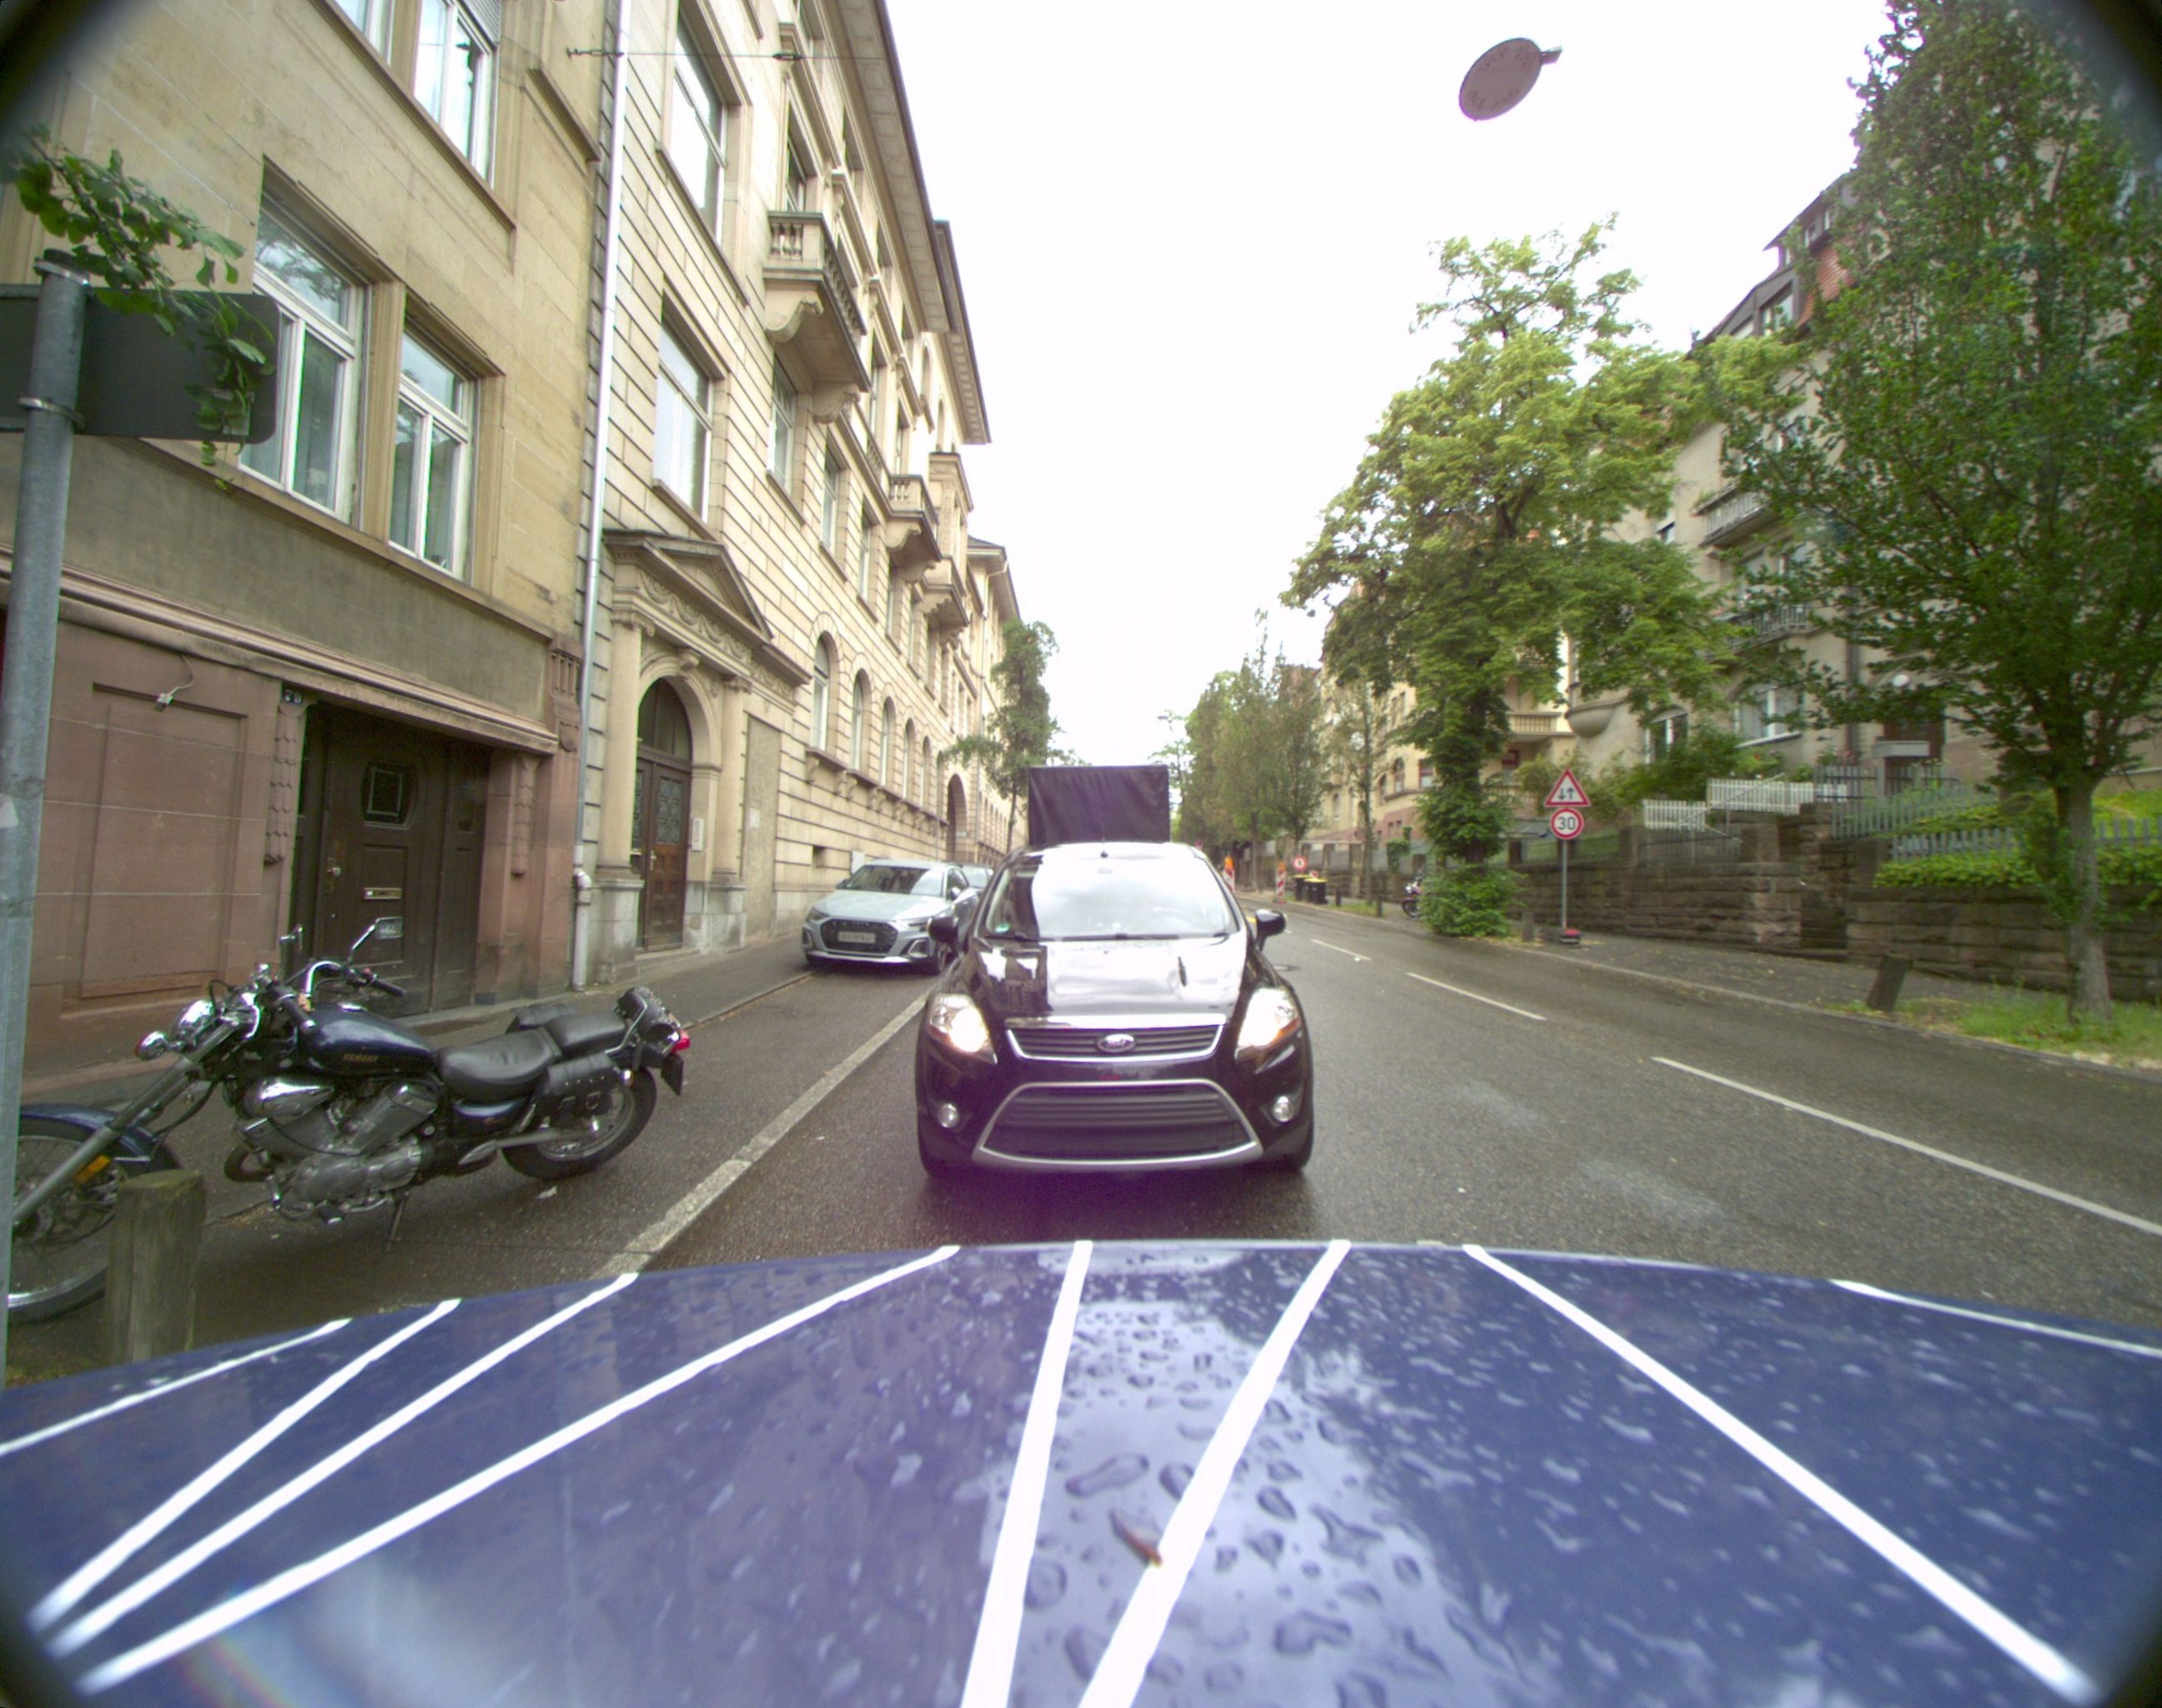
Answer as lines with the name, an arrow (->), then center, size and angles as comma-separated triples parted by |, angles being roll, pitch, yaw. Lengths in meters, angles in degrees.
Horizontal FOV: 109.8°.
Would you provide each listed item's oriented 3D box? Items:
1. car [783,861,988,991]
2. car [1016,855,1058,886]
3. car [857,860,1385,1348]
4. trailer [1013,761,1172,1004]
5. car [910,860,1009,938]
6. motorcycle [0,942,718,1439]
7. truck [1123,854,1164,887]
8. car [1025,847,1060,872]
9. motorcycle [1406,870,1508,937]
car -> -2.595, 0.879, 11.136 | 1.794, 1.444, 4.039 | 3, 0, 1
car -> -2.388, 0.884, 42.460 | 1.910, 1.502, 4.318 | 3, 0, 1
car -> 0.193, 0.886, 4.897 | 1.823, 1.662, 4.522 | 0, 0, 1
trailer -> 0.132, 0.308, 11.024 | 1.783, 2.744, 4.816 | 0, 1, 0
car -> -2.538, 0.888, 16.481 | 1.495, 1.440, 3.181 | 3, 0, 1
motorcycle -> -2.650, 1.009, 2.807 | 0.523, 1.236, 2.282 | 3, -1, 39
truck -> 3.731, 0.946, 46.150 | 2.075, 1.825, 5.154 | 2, 0, 1
car -> -2.514, 0.369, 50.599 | 1.910, 1.502, 4.318 | 3, 0, 1
motorcycle -> 8.901, 1.128, 18.197 | 0.802, 1.406, 3.061 | -2, 0, -2
